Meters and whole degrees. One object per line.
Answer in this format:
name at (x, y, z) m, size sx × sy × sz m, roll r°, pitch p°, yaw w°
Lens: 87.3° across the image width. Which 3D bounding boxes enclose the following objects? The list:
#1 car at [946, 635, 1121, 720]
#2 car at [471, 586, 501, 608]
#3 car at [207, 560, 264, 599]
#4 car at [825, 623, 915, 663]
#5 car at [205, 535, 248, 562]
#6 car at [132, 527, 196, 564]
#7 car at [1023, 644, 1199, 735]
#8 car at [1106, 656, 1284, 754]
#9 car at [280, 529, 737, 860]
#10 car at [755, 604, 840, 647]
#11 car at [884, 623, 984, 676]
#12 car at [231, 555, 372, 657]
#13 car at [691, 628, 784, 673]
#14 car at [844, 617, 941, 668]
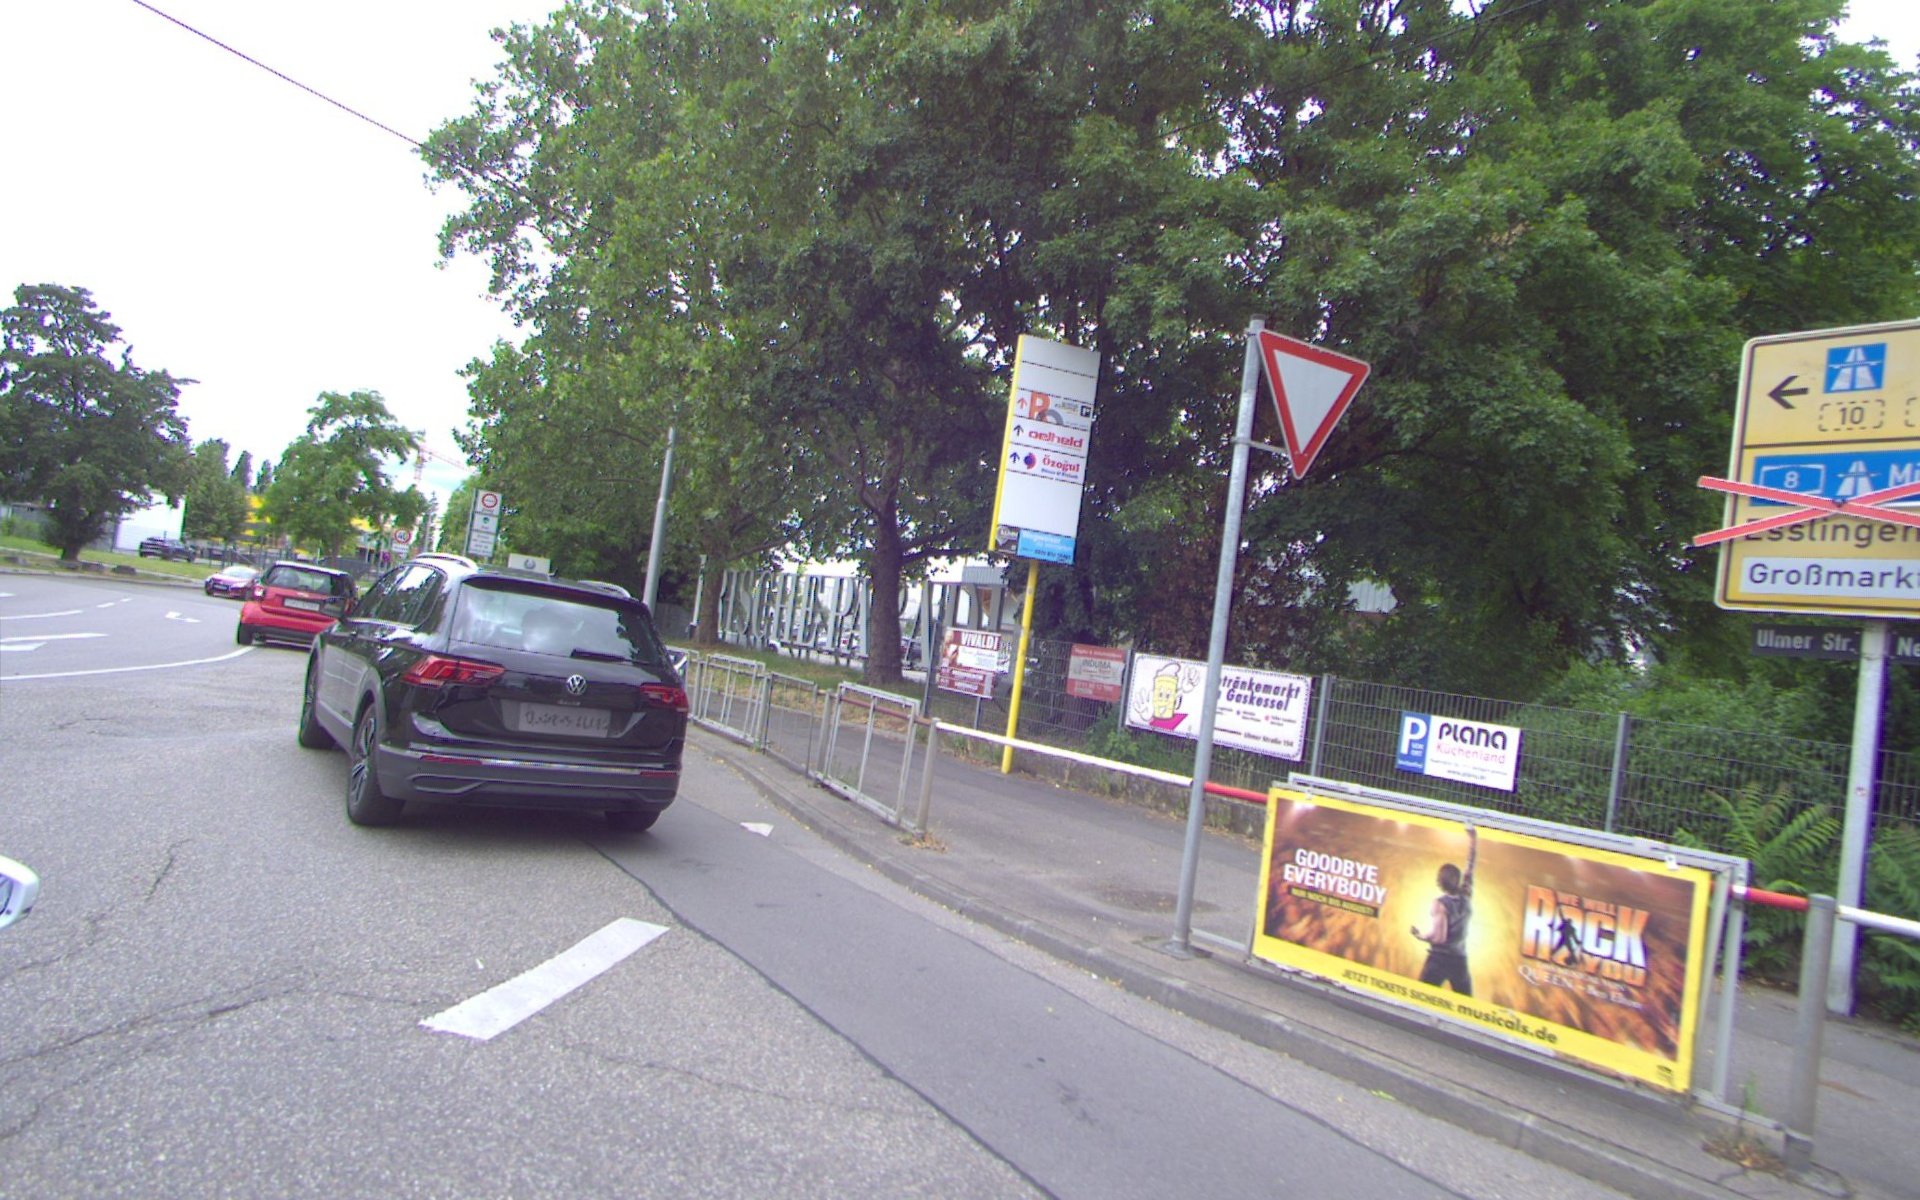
car at (2.072, 2.154, 27.668) m, size 4.489 × 1.630 × 1.867 m, roll 11°, pitch -4°, yaw -34°
car at (-41.685, -0.255, 88.497) m, size 2.022 × 1.553 × 3.923 m, roll 9°, pitch -3°, yaw -22°
car at (-33.528, -0.945, 46.625) m, size 1.716 × 1.482 × 3.805 m, roll 8°, pitch -3°, yaw -31°
car at (-5.049, 2.433, 56.797) m, size 4.604 × 1.576 × 1.981 m, roll 10°, pitch -3°, yaw -36°
car at (-70.152, -4.939, 96.319) m, size 1.944 × 2.035 × 4.203 m, roll 10°, pitch -3°, yaw -20°
car at (-54.822, -3.722, 69.377) m, size 1.944 × 2.035 × 4.203 m, roll 10°, pitch -3°, yaw -20°
car at (3.770, 2.225, 24.748) m, size 4.286 × 1.630 × 1.576 m, roll 11°, pitch -4°, yaw -37°
car at (5.317, 2.384, 22.562) m, size 3.970 × 1.630 × 1.576 m, roll 11°, pitch -4°, yaw -37°
car at (-3.475, 0.503, 7.233) m, size 1.838 × 1.653 × 4.141 m, roll 11°, pitch -4°, yaw -38°
car at (-10.354, 1.652, 64.353) m, size 4.786 × 2.036 × 1.981 m, roll 10°, pitch -3°, yaw -36°
car at (-1.294, 2.551, 51.561) m, size 4.604 × 2.036 × 1.981 m, roll 10°, pitch -3°, yaw -36°
car at (-11.902, 0.069, 18.362) m, size 1.699 × 1.481 × 3.000 m, roll 9°, pitch -2°, yaw -28°
car at (-10.019, 2.299, 45.405) m, size 3.705 × 1.521 × 1.465 m, roll 10°, pitch -3°, yaw -39°
car at (-3.589, 2.274, 53.828) m, size 4.604 × 2.036 × 1.981 m, roll 10°, pitch -3°, yaw -36°
